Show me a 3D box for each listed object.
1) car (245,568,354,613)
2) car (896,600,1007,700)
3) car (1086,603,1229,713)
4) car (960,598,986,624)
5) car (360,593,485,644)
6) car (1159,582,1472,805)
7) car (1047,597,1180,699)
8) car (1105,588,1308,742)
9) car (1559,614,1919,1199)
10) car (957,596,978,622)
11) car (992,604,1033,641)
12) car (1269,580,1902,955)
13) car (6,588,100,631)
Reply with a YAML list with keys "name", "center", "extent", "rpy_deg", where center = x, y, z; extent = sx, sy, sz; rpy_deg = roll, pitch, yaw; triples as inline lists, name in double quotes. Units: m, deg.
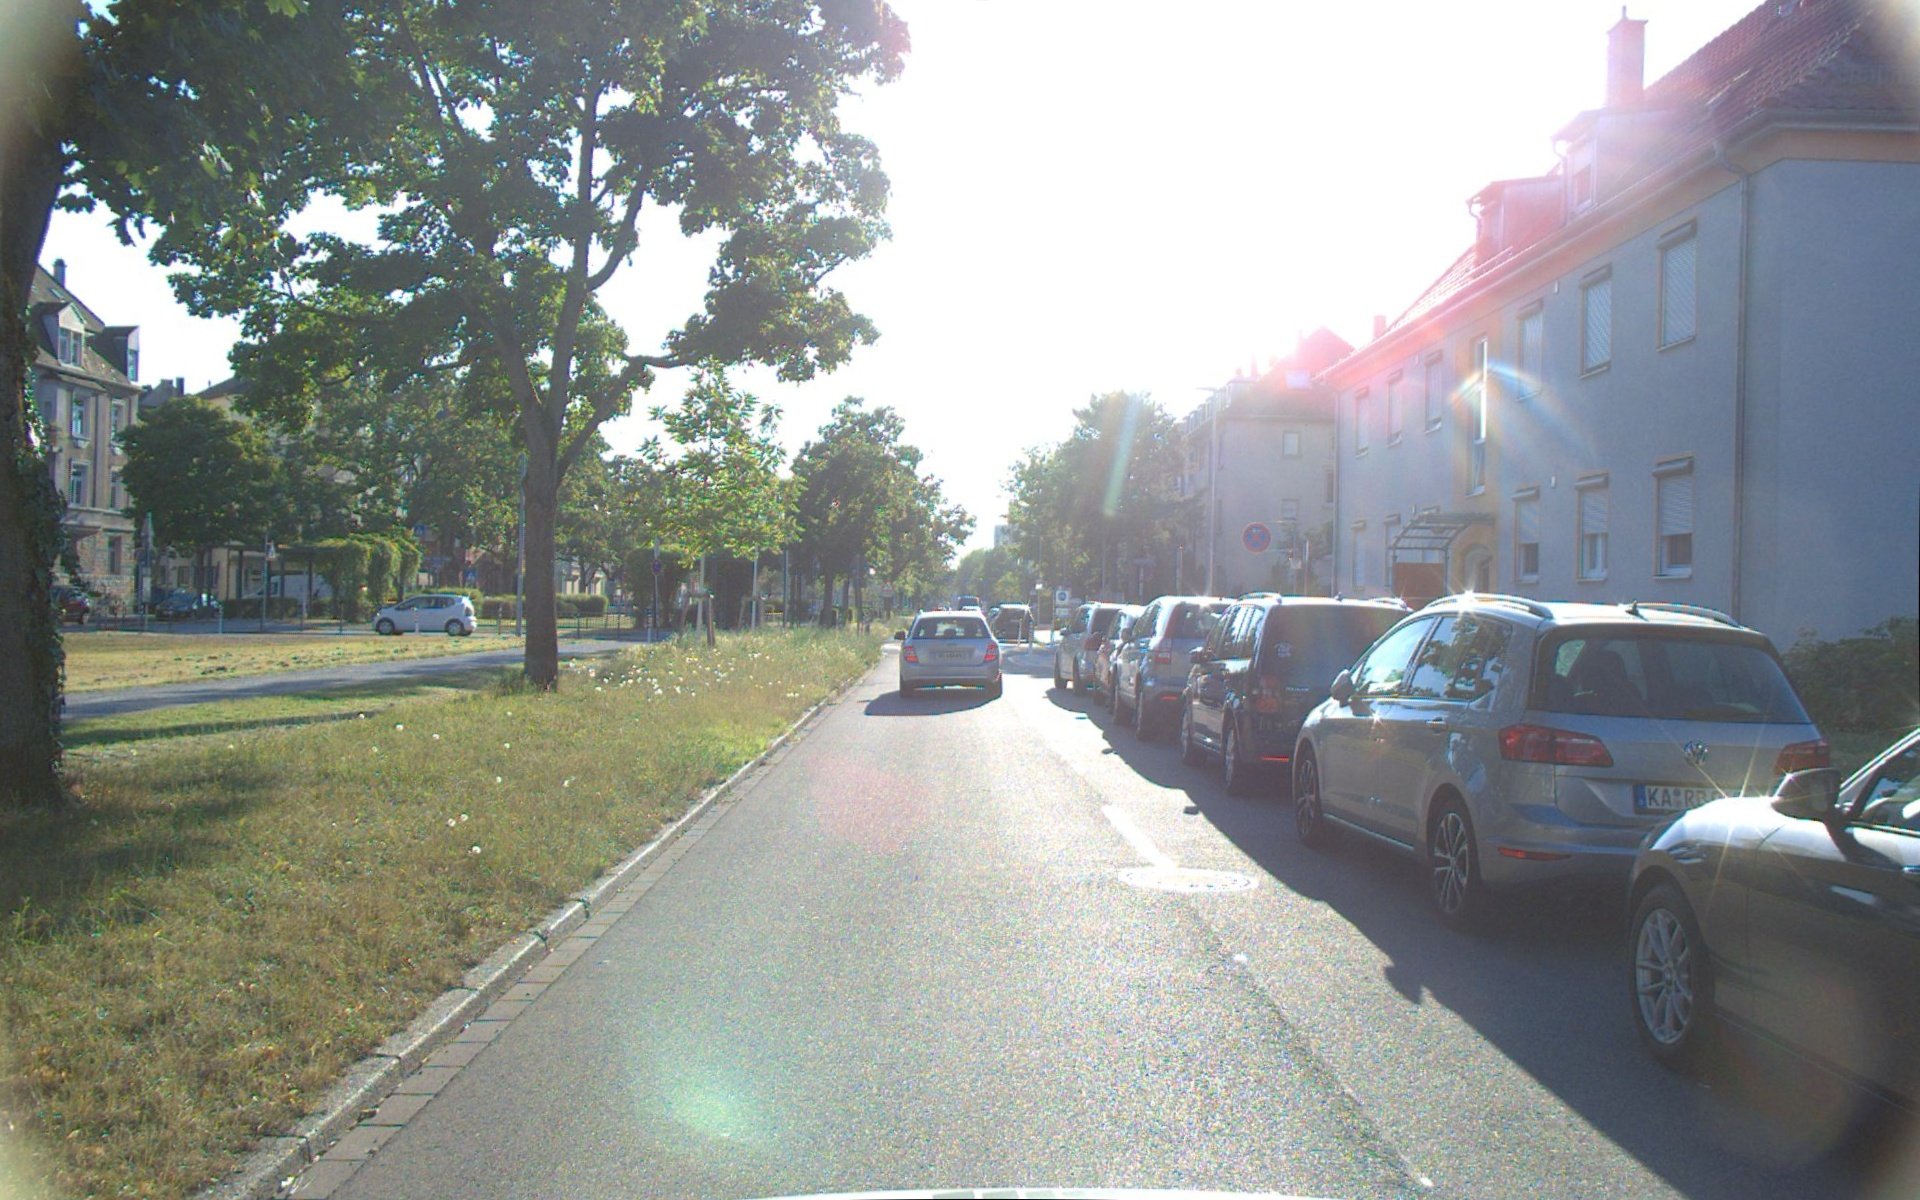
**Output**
- name: "car"
  center: [-42.087, -0.587, 105.464]
  extent: [6.231, 2.768, 1.982]
  rpy_deg: [1, 0, -31]
- name: "car"
  center: [-0.146, 0.804, 28.704]
  extent: [1.786, 1.594, 4.000]
  rpy_deg: [0, 0, 0]
- name: "car"
  center: [2.976, 0.838, 25.580]
  extent: [1.694, 1.553, 3.733]
  rpy_deg: [0, 0, -1]
- name: "car"
  center: [1.027, 0.878, 132.921]
  extent: [1.948, 2.059, 4.000]
  rpy_deg: [1, 0, 0]
- name: "car"
  center: [-19.123, 0.655, 58.966]
  extent: [3.817, 1.624, 1.998]
  rpy_deg: [-3, -1, -4]
- name: "car"
  center: [3.049, 0.766, 15.207]
  extent: [1.730, 1.663, 4.763]
  rpy_deg: [2, -1, -1]
- name: "car"
  center: [2.781, 0.839, 30.833]
  extent: [1.683, 1.667, 4.560]
  rpy_deg: [3, 0, -4]
- name: "car"
  center: [2.931, 0.746, 20.643]
  extent: [1.741, 1.672, 4.755]
  rpy_deg: [1, -1, -1]
- name: "car"
  center: [3.333, 0.837, 4.228]
  extent: [1.953, 1.488, 4.562]
  rpy_deg: [3, 0, 1]
- name: "car"
  center: [0.660, 0.837, 150.972]
  extent: [1.823, 2.231, 5.069]
  rpy_deg: [1, 0, 0]
- name: "car"
  center: [2.349, 1.040, 74.651]
  extent: [1.686, 1.625, 3.999]
  rpy_deg: [1, -1, 0]
- name: "car"
  center: [3.146, 0.740, 9.402]
  extent: [1.690, 1.588, 4.413]
  rpy_deg: [2, 0, -3]
- name: "car"
  center: [-39.173, 0.421, 71.575]
  extent: [1.610, 1.737, 4.293]
  rpy_deg: [-3, -1, 1]
